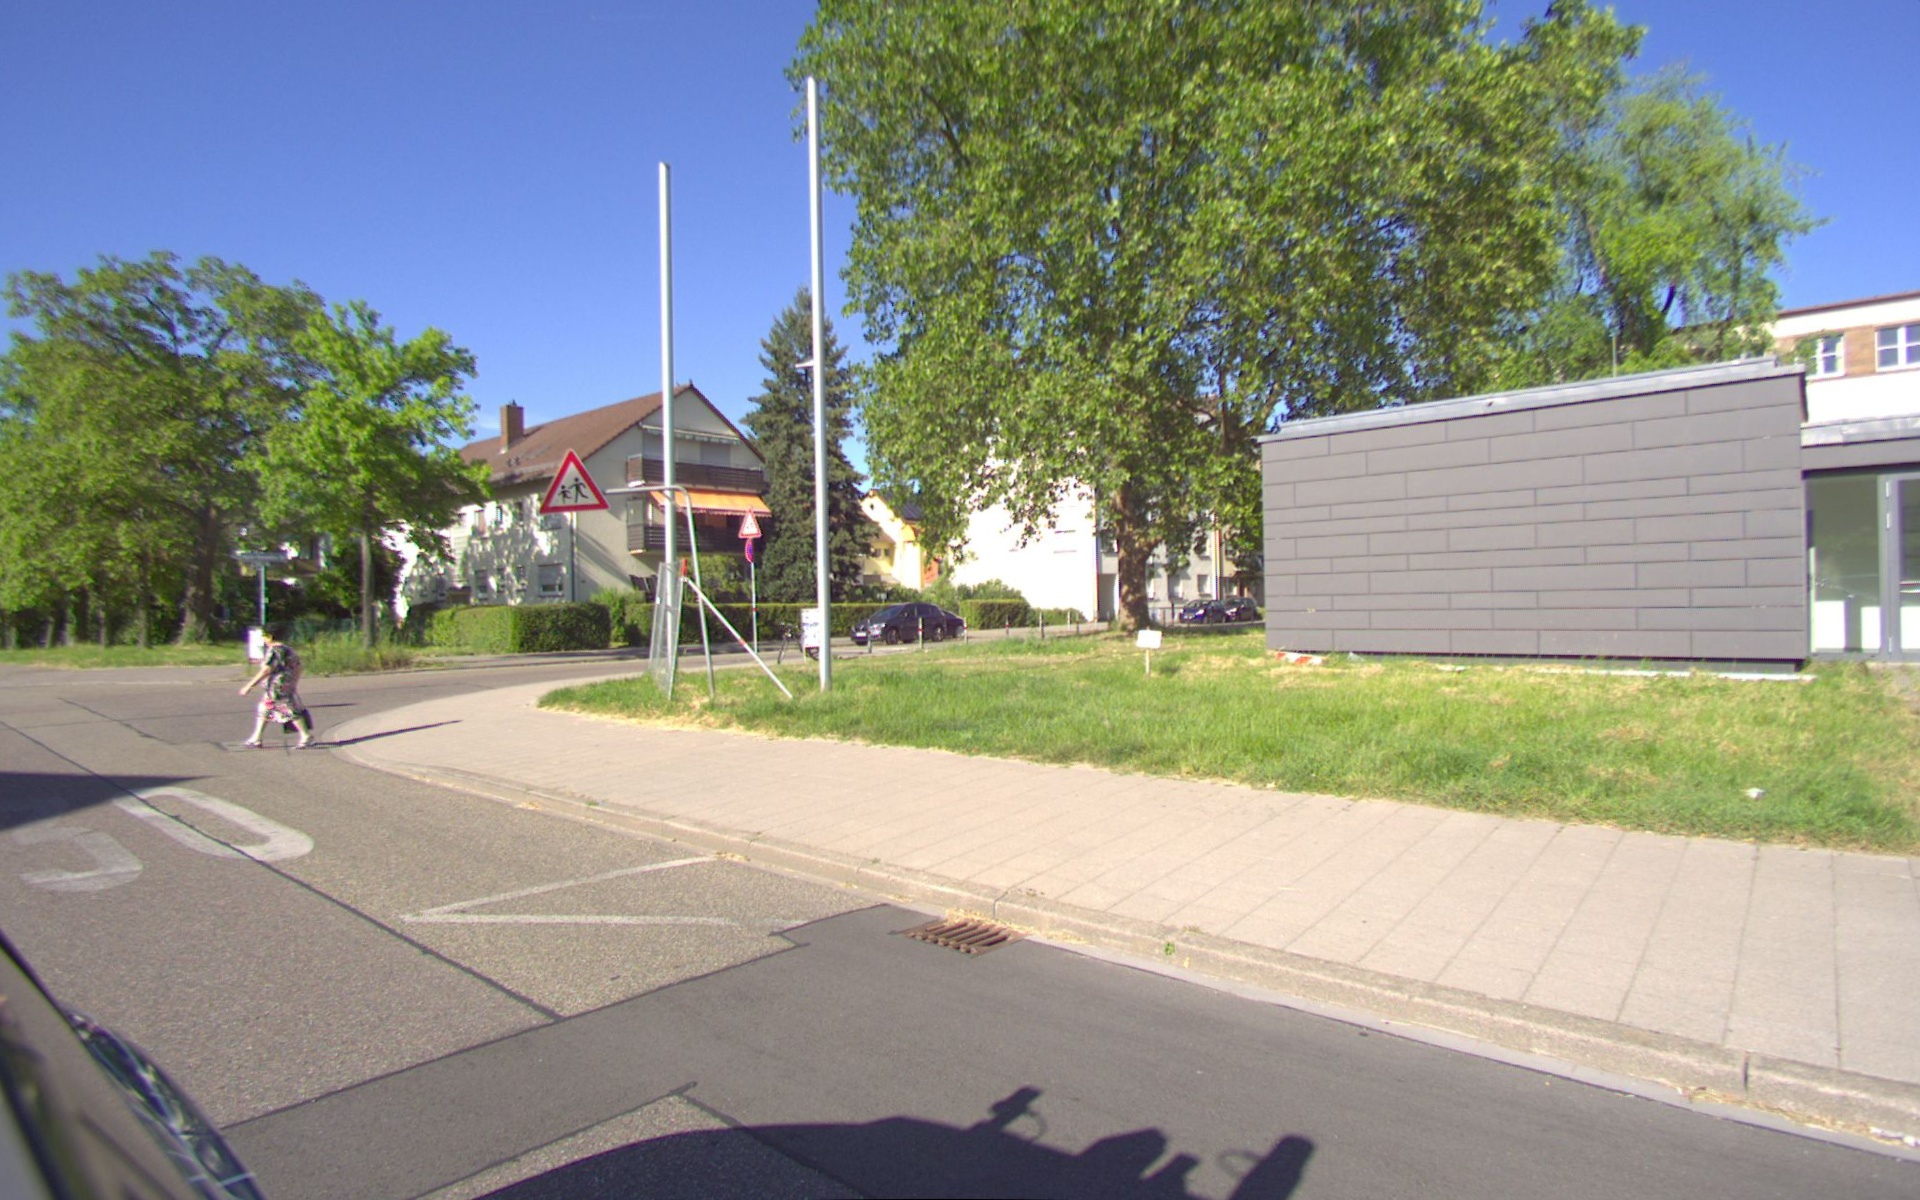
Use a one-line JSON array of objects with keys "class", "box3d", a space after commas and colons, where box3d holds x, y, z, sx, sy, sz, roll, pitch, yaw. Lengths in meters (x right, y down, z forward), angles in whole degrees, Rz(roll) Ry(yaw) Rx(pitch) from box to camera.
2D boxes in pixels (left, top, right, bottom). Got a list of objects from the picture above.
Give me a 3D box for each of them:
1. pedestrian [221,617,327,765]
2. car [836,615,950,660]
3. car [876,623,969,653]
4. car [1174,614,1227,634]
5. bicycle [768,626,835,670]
[{"class": "pedestrian", "box3d": [-7.851, 1.015, 11.613, 0.822, 1.599, 0.634, -2, 0, -17]}, {"class": "car", "box3d": [-2.495, 1.384, 38.464, 2.114, 1.468, 4.055, 0, 1, 39]}, {"class": "car", "box3d": [-1.540, 1.589, 42.664, 1.630, 1.039, 3.968, -2, 0, 41]}, {"class": "car", "box3d": [14.804, 1.490, 62.239, 1.538, 1.202, 3.947, -2, -2, 40]}, {"class": "bicycle", "box3d": [-3.754, 1.140, 24.031, 0.500, 0.992, 1.578, -7, -6, 43]}]
